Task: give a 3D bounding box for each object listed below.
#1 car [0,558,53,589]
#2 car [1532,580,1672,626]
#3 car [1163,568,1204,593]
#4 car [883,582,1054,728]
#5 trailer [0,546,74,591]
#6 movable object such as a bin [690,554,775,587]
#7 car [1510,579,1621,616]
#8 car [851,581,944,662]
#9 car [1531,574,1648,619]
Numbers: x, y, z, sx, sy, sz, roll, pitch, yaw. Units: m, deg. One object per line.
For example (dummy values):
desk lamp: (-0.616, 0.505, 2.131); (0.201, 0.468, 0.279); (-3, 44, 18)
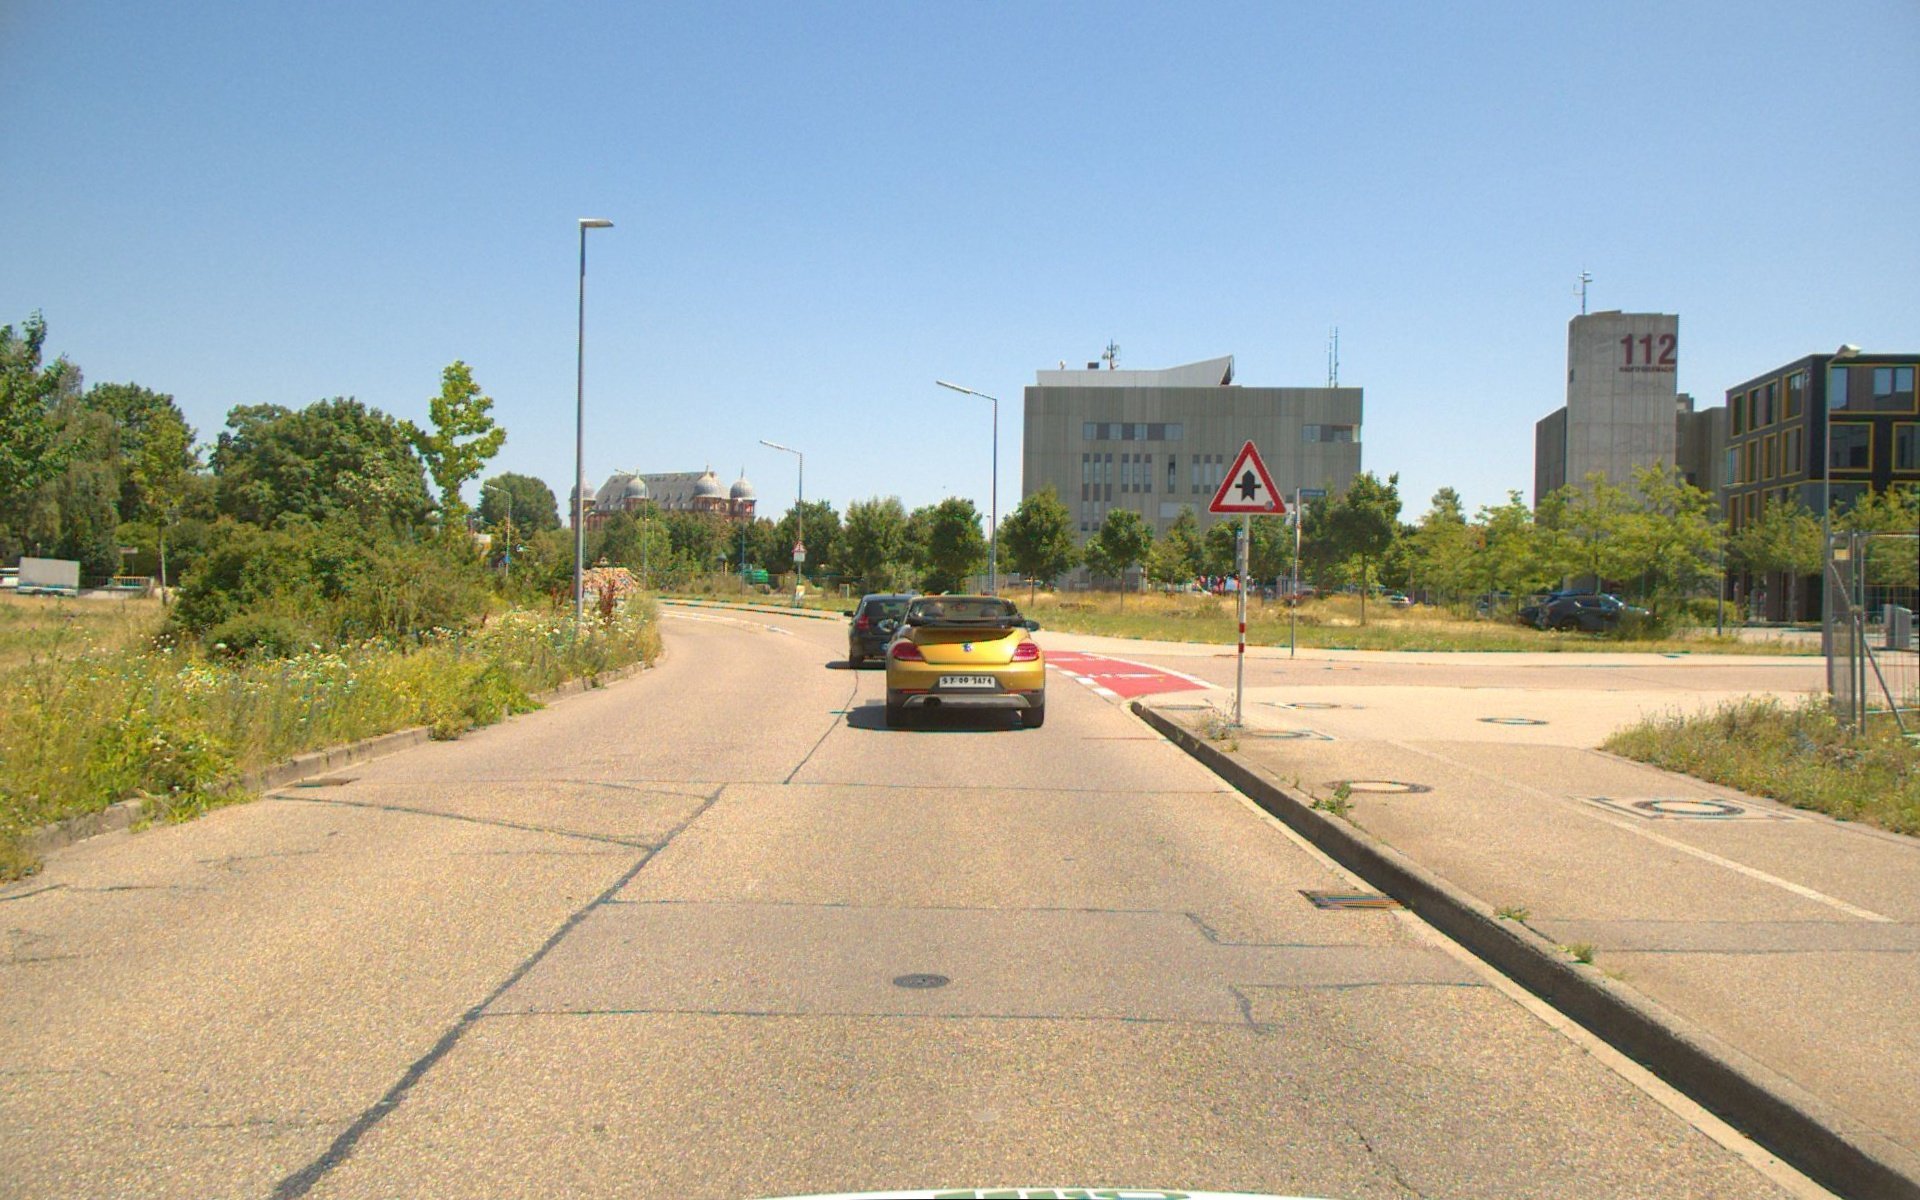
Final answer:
car: (-49.257, -1.395, 86.341); (3.298, 1.604, 1.755); (0, 1, -30)
car: (23.467, 0.080, 60.614); (4.397, 1.589, 2.034); (1, 1, 8)
car: (21.557, -1.882, 159.350); (3.760, 2.334, 1.744); (1, 1, 10)
car: (0.098, 0.552, 19.103); (1.753, 1.461, 3.814); (1, 1, 0)
trailer: (-43.951, -1.469, 78.422); (3.379, 2.081, 1.742); (0, 0, -31)
movable object such as a bin: (-24.001, -3.076, 173.648); (4.895, 3.317, 10.347); (1, 1, -34)
car: (25.642, -0.126, 70.166); (4.026, 1.470, 1.963); (1, 1, 4)
car: (-1.294, 0.383, 32.693); (1.693, 1.468, 3.997); (1, 1, -4)
car: (24.779, -0.156, 65.247); (3.971, 1.680, 1.956); (1, 1, 9)
